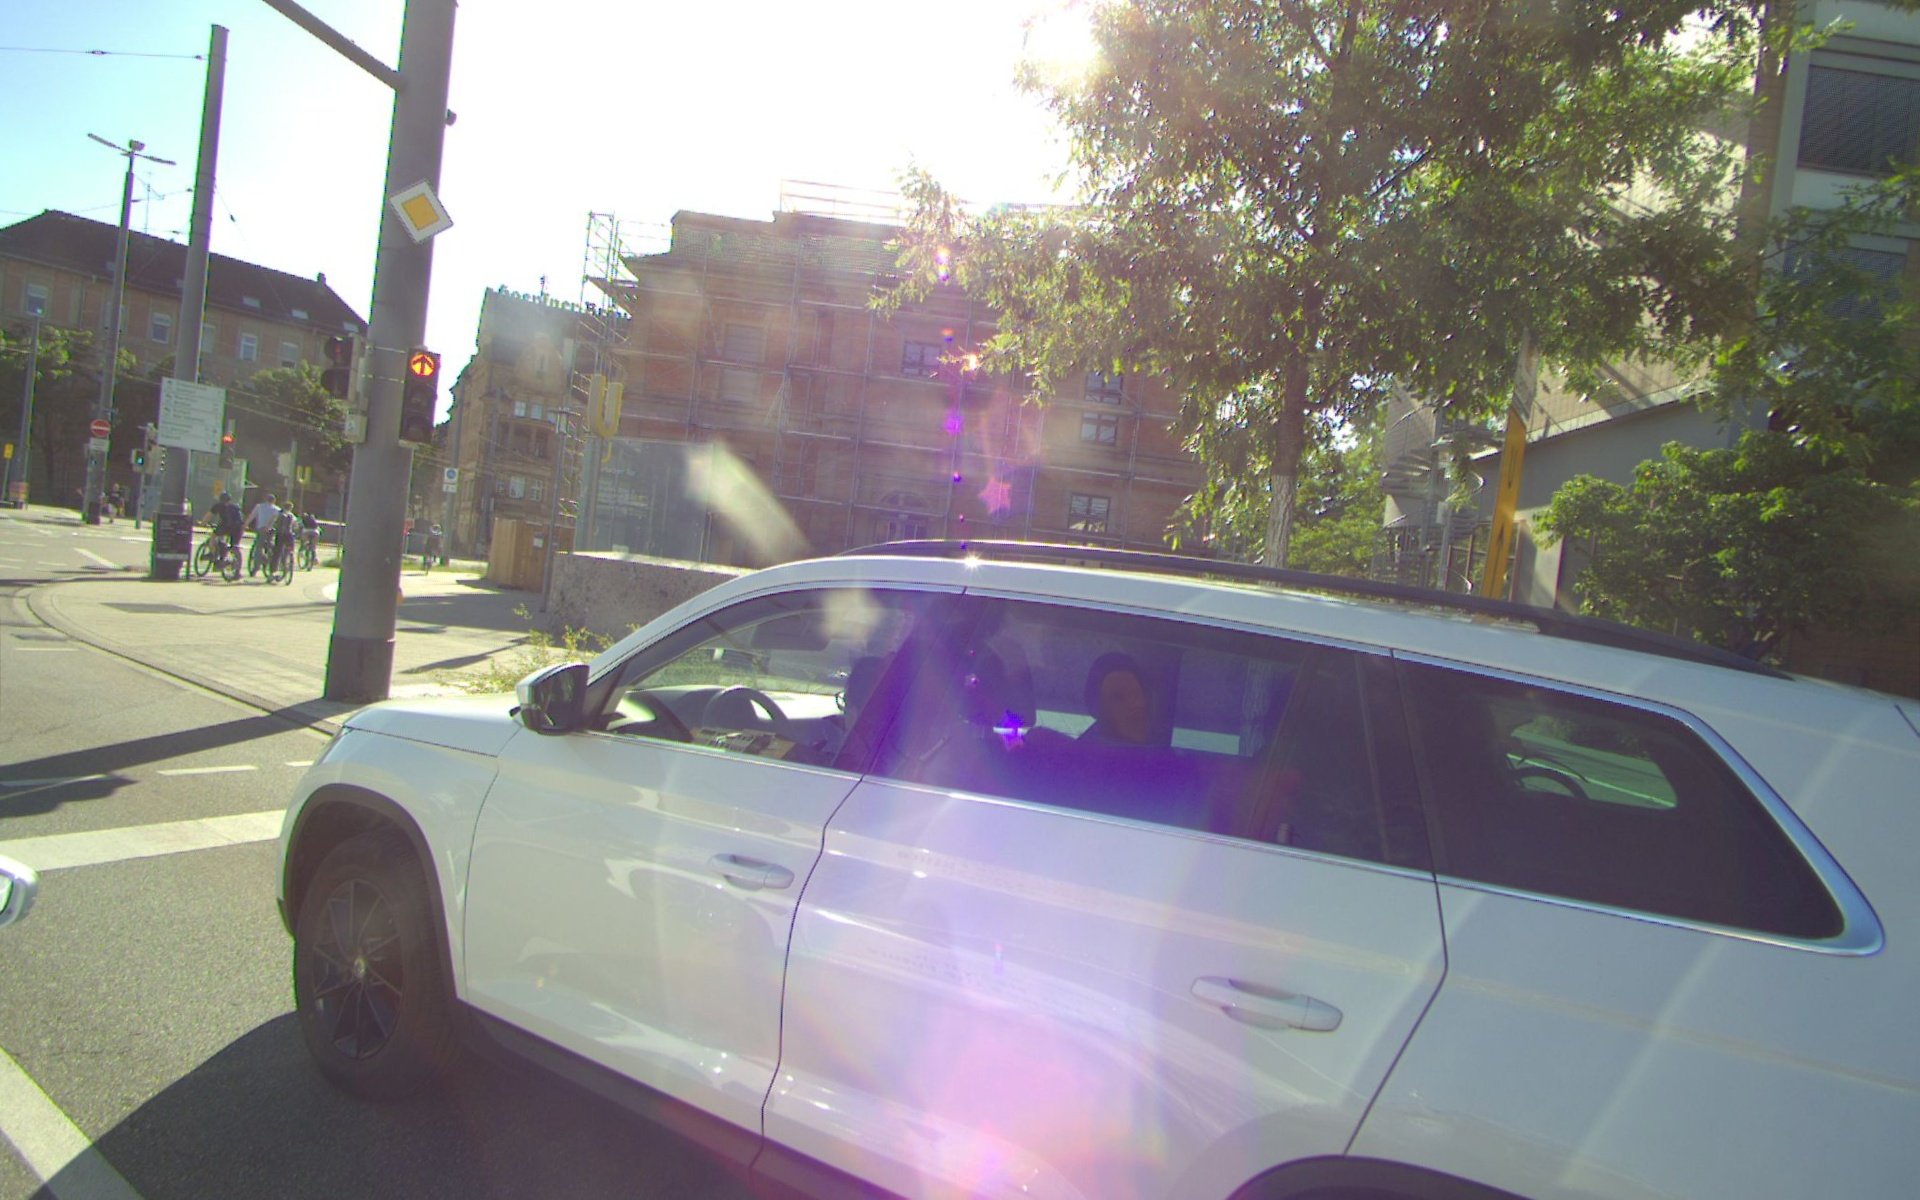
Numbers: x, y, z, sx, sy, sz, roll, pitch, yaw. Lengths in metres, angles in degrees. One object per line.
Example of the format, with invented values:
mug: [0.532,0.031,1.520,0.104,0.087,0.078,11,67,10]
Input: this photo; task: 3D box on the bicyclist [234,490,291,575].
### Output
bicyclist: [-15.896,-1.537,22.925,0.910,1.802,0.746,8,2,39]

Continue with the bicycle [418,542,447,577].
bicycle: [-17.355,-1.342,33.131,0.510,1.058,1.760,5,2,-19]

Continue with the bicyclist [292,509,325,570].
bicyclist: [-18.187,-1.696,28.081,0.569,1.588,0.937,7,1,-38]

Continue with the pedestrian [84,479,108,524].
pedestrian: [-41.315,-4.692,48.109,0.443,2.039,0.574,7,1,14]

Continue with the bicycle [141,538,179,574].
bicycle: [-17.832,-0.993,22.415,0.534,0.664,1.705,4,2,-42]

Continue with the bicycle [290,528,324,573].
bicycle: [-18.205,-1.390,28.046,0.568,1.139,1.722,7,0,-37]

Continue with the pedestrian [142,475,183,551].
pedestrian: [-17.626,-1.927,22.236,0.546,1.582,0.848,6,1,-42]

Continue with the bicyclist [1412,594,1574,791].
bicyclist: [3.989,0.656,7.526,0.892,1.296,0.720,7,3,32]

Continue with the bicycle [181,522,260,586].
bicycle: [-15.224,-0.960,20.693,1.820,1.128,0.626,7,1,32]

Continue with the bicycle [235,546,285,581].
bicycle: [-16.013,-0.840,22.992,1.446,0.664,0.536,7,2,39]

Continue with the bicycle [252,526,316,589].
bicycle: [-14.306,-0.914,21.274,1.858,1.179,0.683,7,2,44]

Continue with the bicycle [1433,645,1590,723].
bicycle: [13.104,1.983,23.988,3.079,1.395,0.798,7,1,8]

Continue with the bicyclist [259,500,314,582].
bicyclist: [-14.211,-1.244,21.207,0.964,1.619,0.683,8,2,44]

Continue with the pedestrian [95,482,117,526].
pedestrian: [-41.212,-4.633,48.551,0.443,2.039,0.462,7,2,14]

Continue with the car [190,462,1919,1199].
car: [0.003,0.694,2.674,4.224,1.662,1.697,7,0,30]

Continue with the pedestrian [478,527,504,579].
pedestrian: [-18.009,-1.816,38.638,0.692,1.904,0.716,6,1,-24]

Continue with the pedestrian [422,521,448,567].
pedestrian: [-17.278,-1.845,33.104,0.510,1.421,0.957,5,2,-19]

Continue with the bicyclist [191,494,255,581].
bicyclist: [-15.125,-1.288,20.645,0.978,1.658,0.626,7,1,32]
